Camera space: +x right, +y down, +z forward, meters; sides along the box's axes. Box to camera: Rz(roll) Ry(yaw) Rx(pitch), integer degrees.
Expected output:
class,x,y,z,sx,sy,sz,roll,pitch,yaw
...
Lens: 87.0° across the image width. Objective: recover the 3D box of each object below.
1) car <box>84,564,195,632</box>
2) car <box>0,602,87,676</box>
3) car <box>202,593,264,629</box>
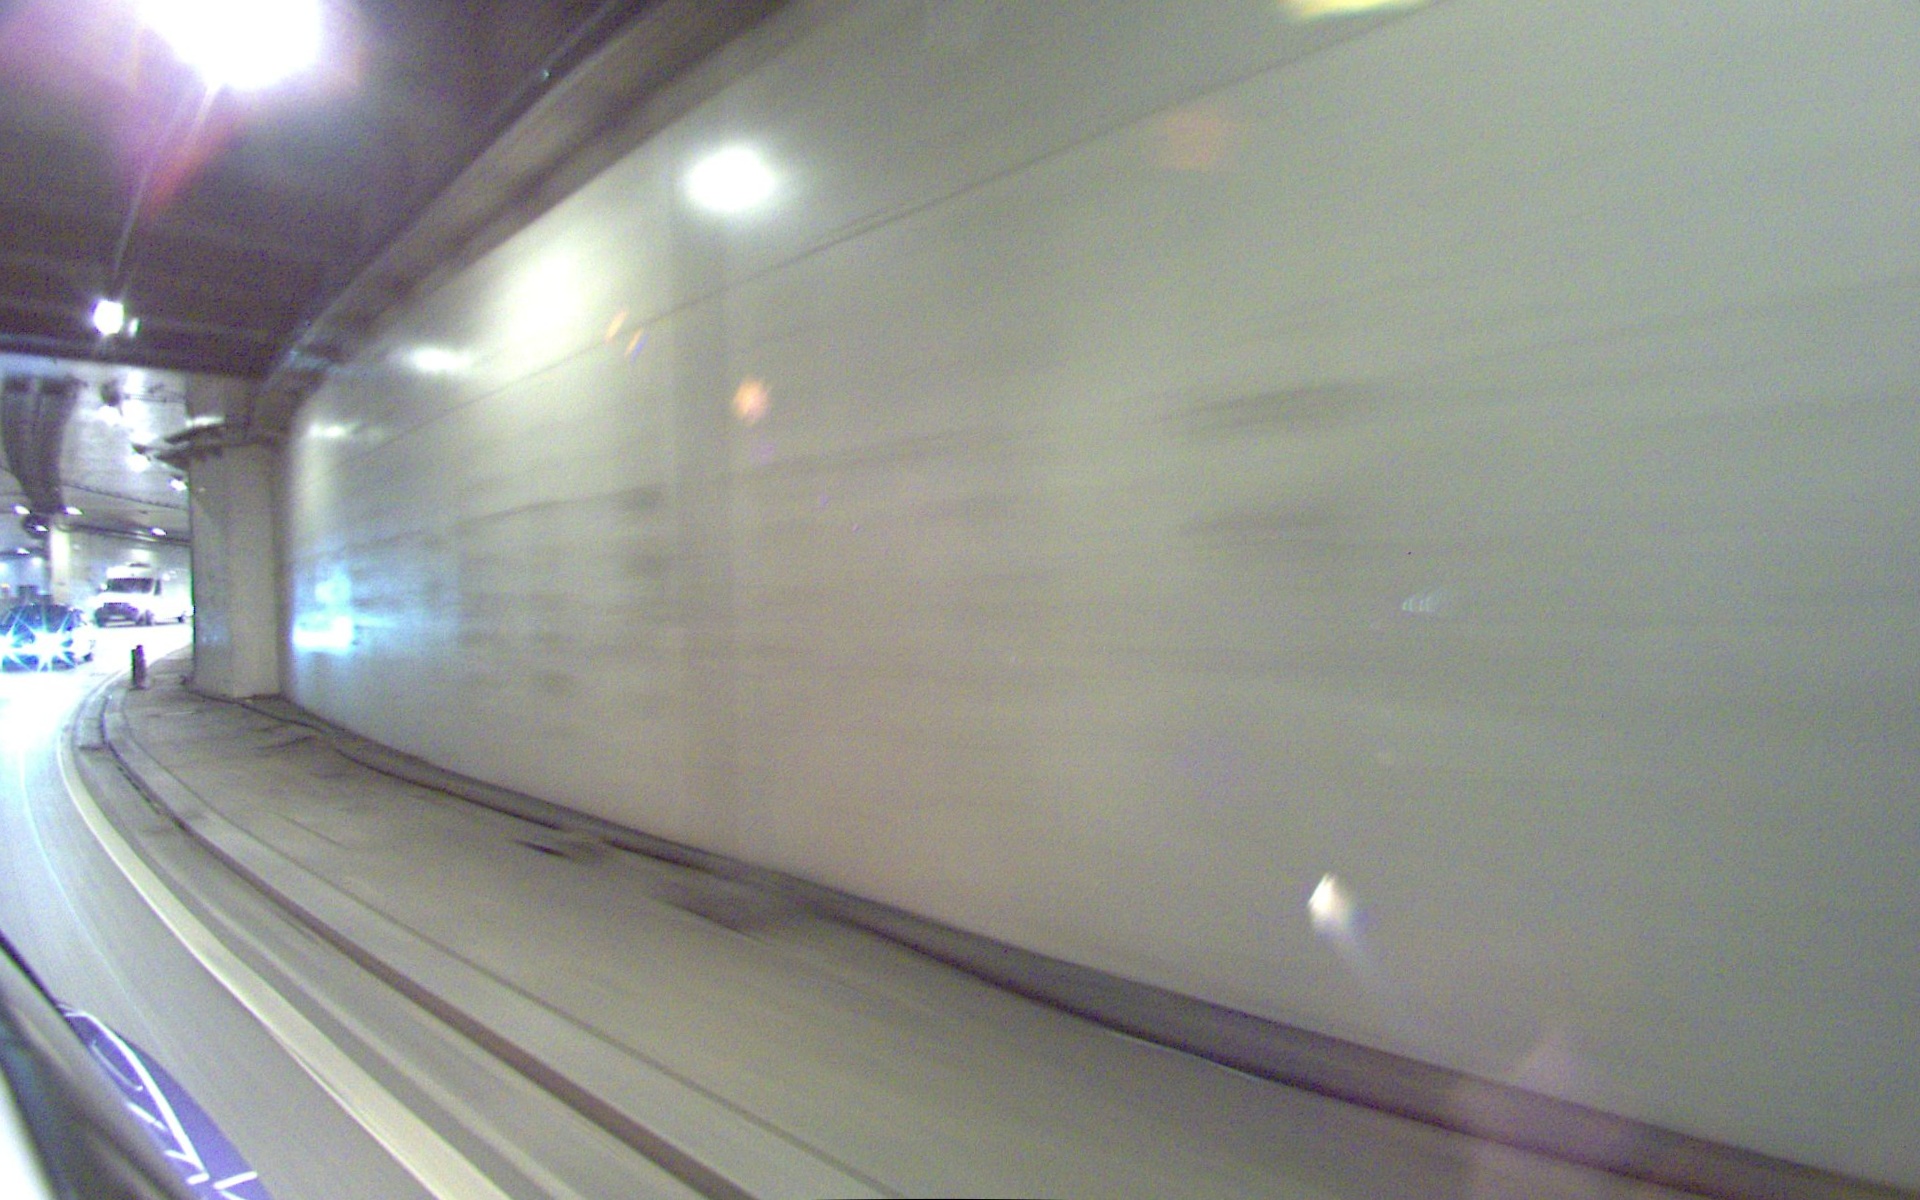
class,x,y,z,sx,sy,sz,roll,pitch,yaw
car,-37.231,-0.101,46.181,2.071,2.869,6.884,0,0,-22
car,-22.435,0.883,24.582,1.614,1.572,3.725,0,1,-37
car,-35.305,0.517,49.229,1.735,1.572,3.831,-3,1,-26
